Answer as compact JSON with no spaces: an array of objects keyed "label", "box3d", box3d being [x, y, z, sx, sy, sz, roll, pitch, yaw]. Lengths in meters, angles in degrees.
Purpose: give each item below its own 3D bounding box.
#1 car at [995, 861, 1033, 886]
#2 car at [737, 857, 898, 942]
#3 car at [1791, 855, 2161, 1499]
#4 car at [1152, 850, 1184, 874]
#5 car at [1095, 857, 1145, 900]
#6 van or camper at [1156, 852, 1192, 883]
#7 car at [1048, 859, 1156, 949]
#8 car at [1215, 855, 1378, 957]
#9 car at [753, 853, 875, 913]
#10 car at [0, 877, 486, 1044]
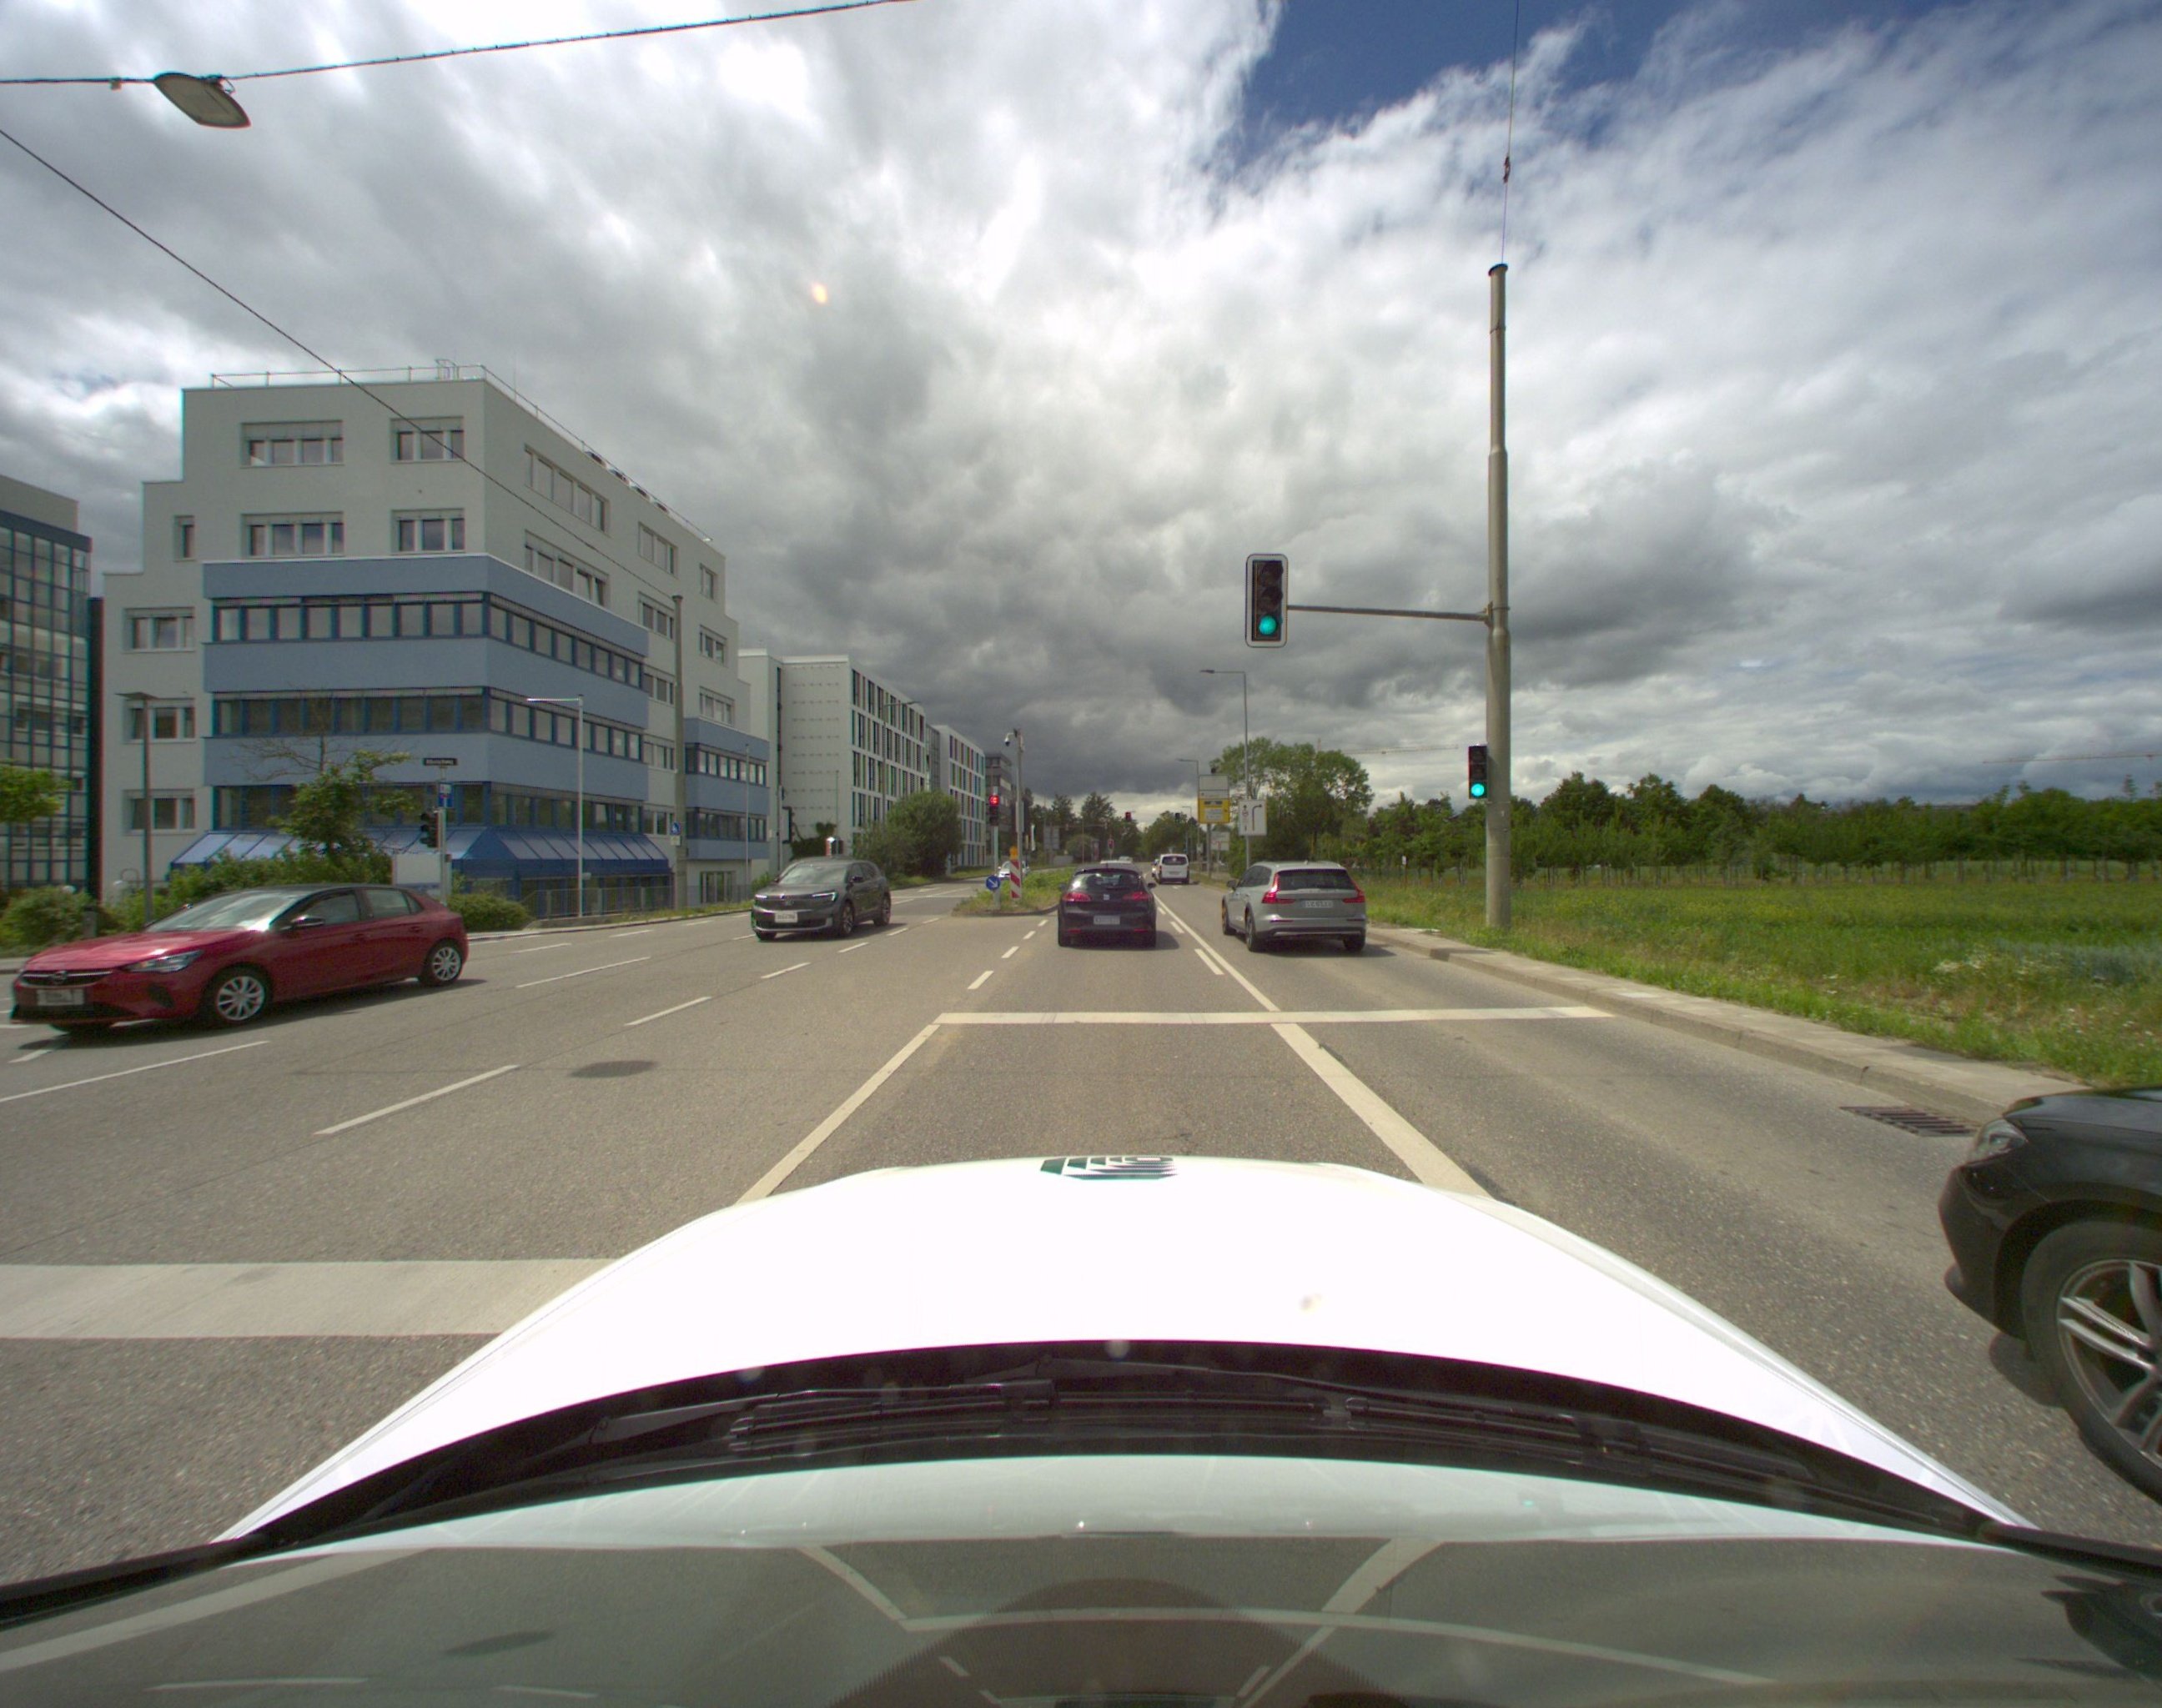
[{"label":"car","box3d":[-4.076,1.147,49.917,1.785,1.447,4.424,-1,0,2]},{"label":"car","box3d":[-5.553,0.882,17.819,1.986,1.618,4.308,-1,0,2]},{"label":"car","box3d":[3.310,0.720,0.193,1.865,1.441,5.202,-1,0,2]},{"label":"car","box3d":[6.231,0.566,58.661,1.985,1.632,4.002,0,0,2]},{"label":"car","box3d":[1.469,0.886,30.594,1.766,1.491,3.585,-1,0,3]},{"label":"van or camper","box3d":[5.759,0.829,50.859,1.985,1.860,4.948,0,0,3]},{"label":"car","box3d":[0.499,0.837,15.317,1.765,1.452,3.587,1,0,5]},{"label":"car","box3d":[3.629,0.799,14.573,1.856,1.518,4.448,-1,0,2]},{"label":"car","box3d":[-8.329,0.854,25.938,1.984,1.702,4.766,-1,0,4]},{"label":"car","box3d":[-9.389,1.045,9.541,1.773,1.415,4.001,-2,-1,2]}]
